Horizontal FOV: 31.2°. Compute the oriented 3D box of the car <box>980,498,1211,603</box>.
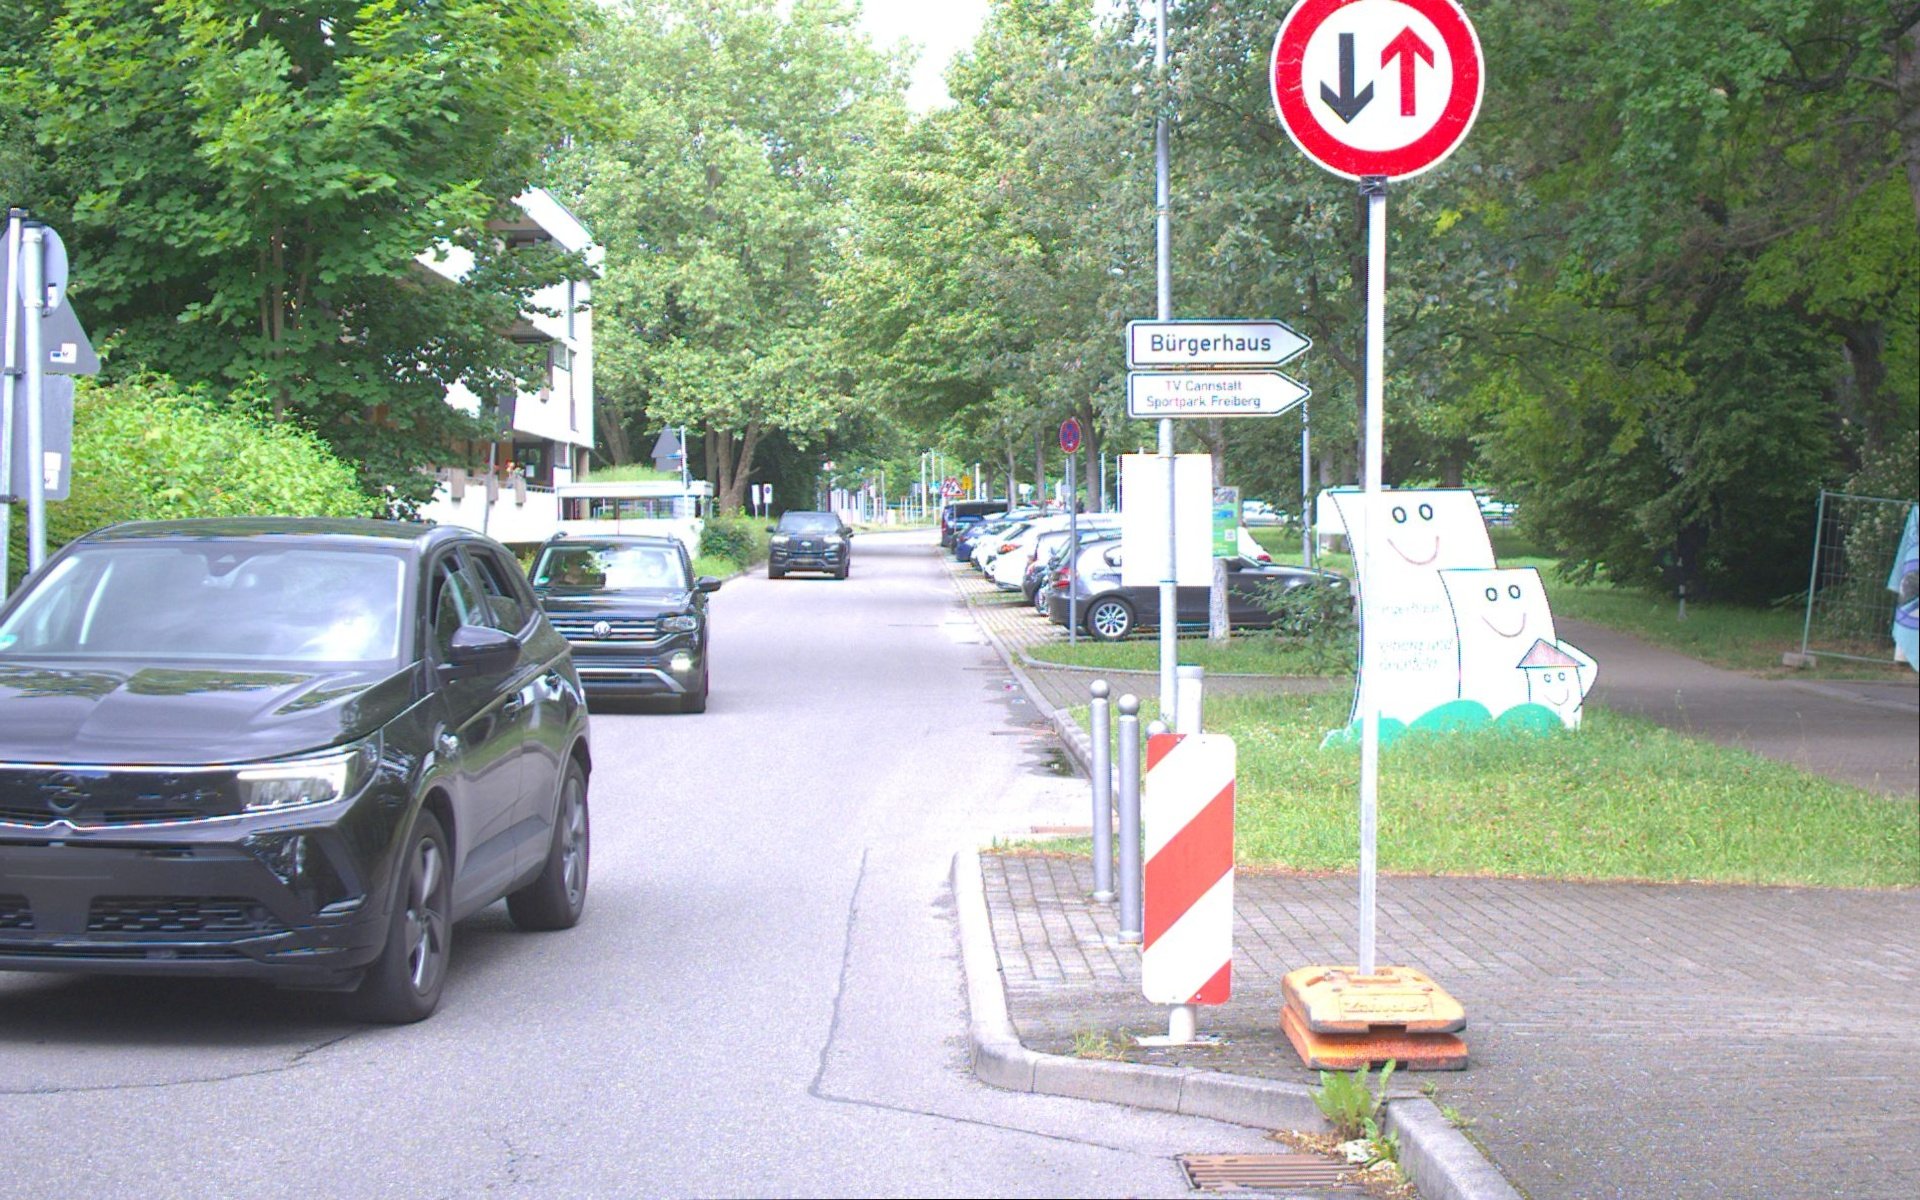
[{"bbox_3d":[2.524,-0.936,64.604,4.062,1.681,1.823,-4,1,-4],"label":"car"}]

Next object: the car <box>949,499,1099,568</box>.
[{"bbox_3d":[1.828,-1.914,98.856,4.062,1.681,1.823,-4,1,-4],"label":"car"}]

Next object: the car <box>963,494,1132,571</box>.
[{"bbox_3d":[2.232,-1.725,88.135,4.062,1.681,1.823,-4,1,-4],"label":"car"}]

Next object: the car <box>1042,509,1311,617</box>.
[{"bbox_3d":[3.390,-0.599,54.360,4.063,1.563,1.823,-2,1,-1],"label":"car"}]

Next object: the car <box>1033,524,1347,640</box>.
[{"bbox_3d":[3.091,-0.238,46.809,4.063,1.429,2.000,-2,0,-1],"label":"car"}]

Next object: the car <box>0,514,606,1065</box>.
[{"bbox_3d":[-2.455,0.498,12.072,1.803,1.586,4.296,0,1,3],"label":"car"}]

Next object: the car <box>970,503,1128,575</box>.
[{"bbox_3d":[2.419,-1.664,93.964,4.062,1.681,1.823,-4,1,-4],"label":"car"}]

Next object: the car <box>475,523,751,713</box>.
[{"bbox_3d":[-3.036,0.100,30.897,1.803,1.586,4.296,0,1,4],"label":"car"}]

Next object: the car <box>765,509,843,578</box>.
[{"bbox_3d":[-4.038,-1.487,89.447,1.968,1.741,4.339,0,1,-2],"label":"car"}]

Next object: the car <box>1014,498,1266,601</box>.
[{"bbox_3d":[3.073,-0.876,59.324,4.062,1.483,1.823,-4,1,-4],"label":"car"}]

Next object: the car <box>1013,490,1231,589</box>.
[{"bbox_3d":[3.209,-1.210,68.524,4.062,1.681,1.823,-4,1,-4],"label":"car"}]

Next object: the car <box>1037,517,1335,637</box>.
[{"bbox_3d":[3.197,-0.320,49.210,4.063,1.563,1.822,-2,0,-1],"label":"car"}]
